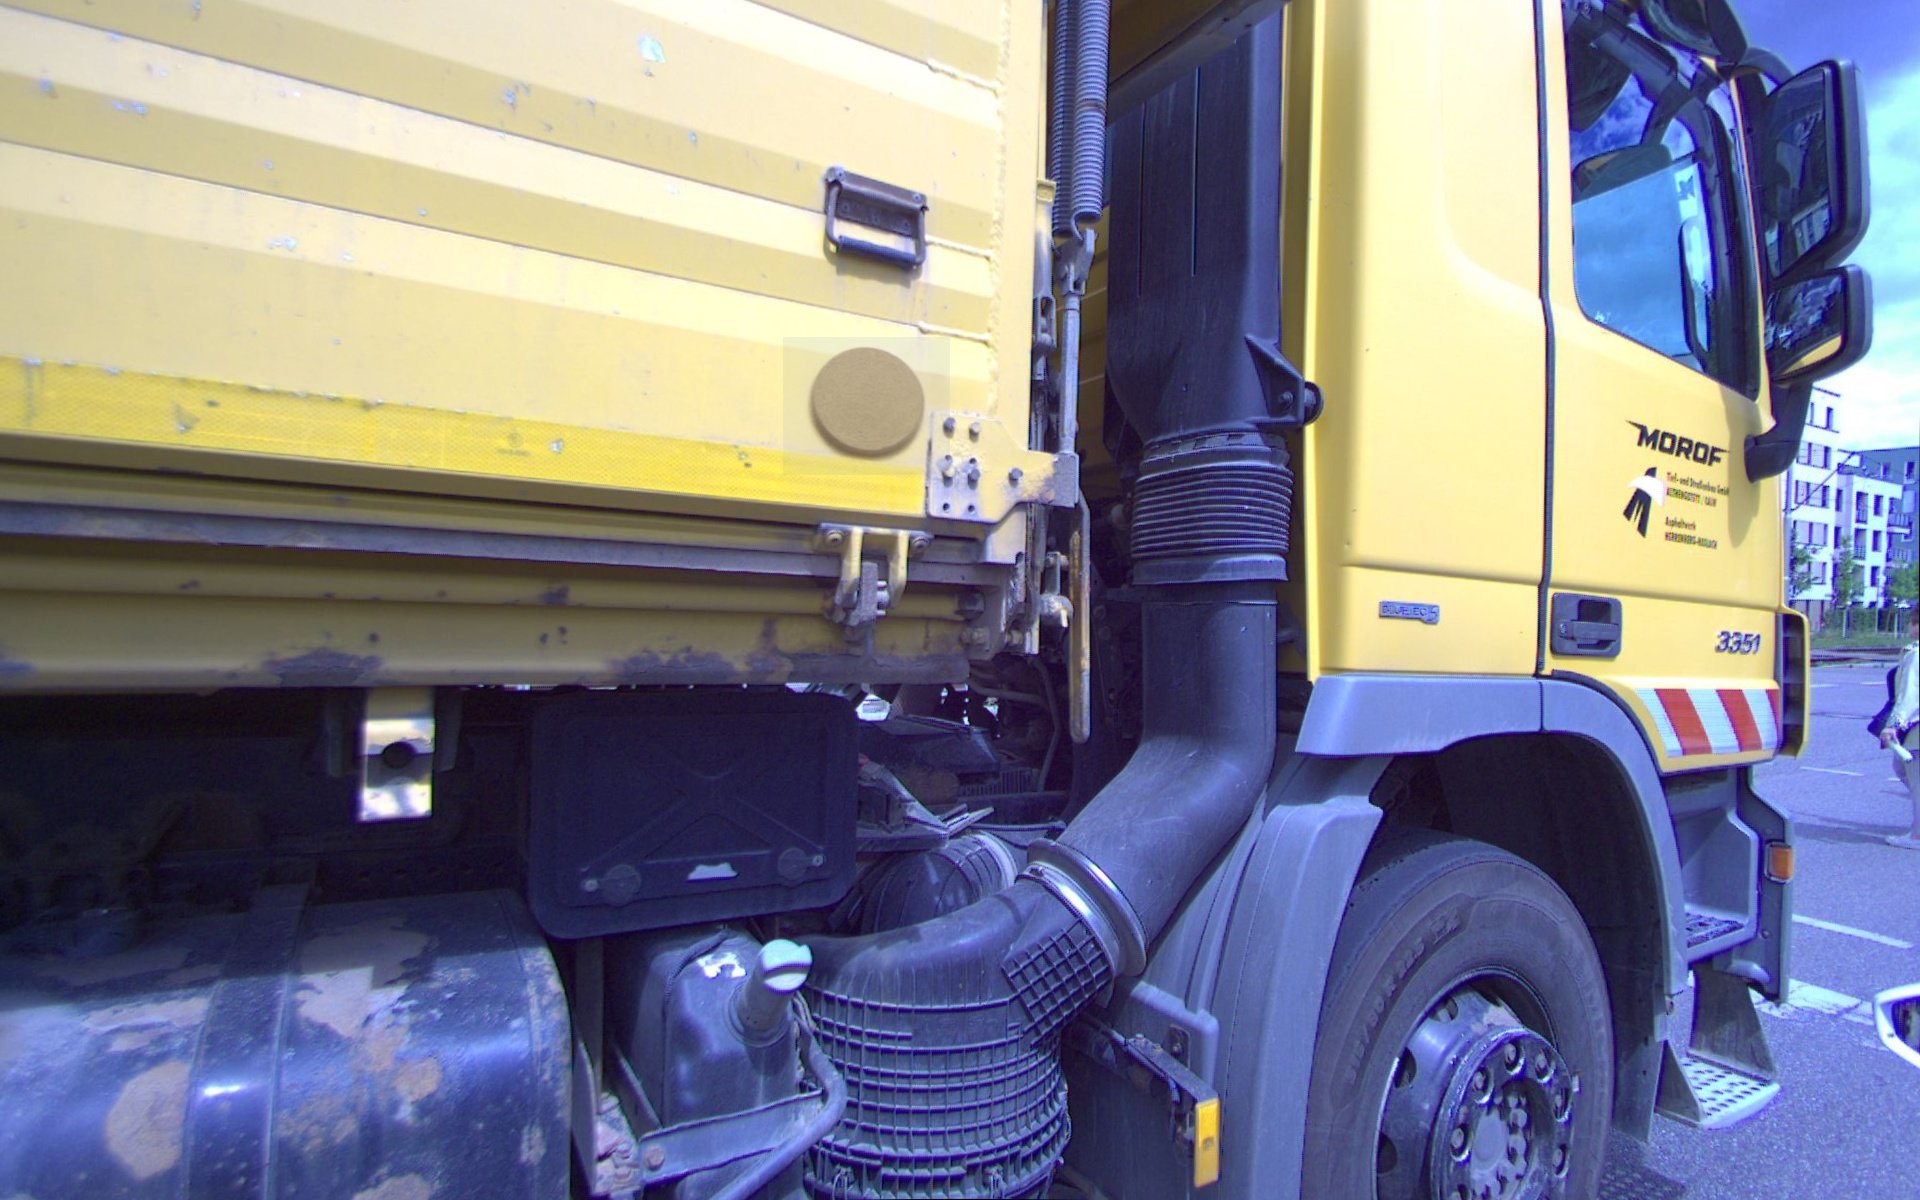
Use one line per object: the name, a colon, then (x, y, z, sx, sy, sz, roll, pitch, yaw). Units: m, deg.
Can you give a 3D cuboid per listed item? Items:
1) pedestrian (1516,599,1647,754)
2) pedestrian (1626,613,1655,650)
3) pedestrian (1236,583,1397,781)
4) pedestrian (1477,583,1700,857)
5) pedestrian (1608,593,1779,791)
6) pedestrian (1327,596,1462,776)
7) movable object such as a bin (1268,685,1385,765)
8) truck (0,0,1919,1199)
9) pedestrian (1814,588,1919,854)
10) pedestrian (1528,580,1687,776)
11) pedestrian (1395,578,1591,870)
pedestrian: (6.896, 0.812, 11.164, 0.896, 1.618, 0.890, 1, 0, -26)
pedestrian: (29.438, 1.354, 43.436, 0.628, 1.536, 0.827, 1, 0, -30)
pedestrian: (3.221, 0.693, 9.118, 0.918, 1.670, 1.016, 1, 0, -29)
pedestrian: (4.194, 0.733, 6.744, 0.869, 1.670, 0.954, 1, 0, -28)
pedestrian: (6.469, 0.759, 8.876, 0.918, 1.628, 0.908, 1, 0, -29)
pedestrian: (4.042, 0.760, 9.365, 0.737, 1.575, 0.877, 1, 0, -29)
movable object such as a bin: (3.666, 1.230, 10.067, 0.768, 0.671, 0.792, 1, 0, -29)
truck: (-1.740, -0.234, 1.667, 7.916, 3.439, 3.033, 1, 0, -32)
pedestrian: (6.254, 0.758, 6.560, 0.725, 1.662, 0.818, 0, 1, -30)
pedestrian: (6.367, 0.721, 9.902, 0.918, 1.796, 0.998, 1, 0, -29)
pedestrian: (3.355, 0.730, 6.359, 0.724, 1.693, 0.819, 1, 0, -27)
